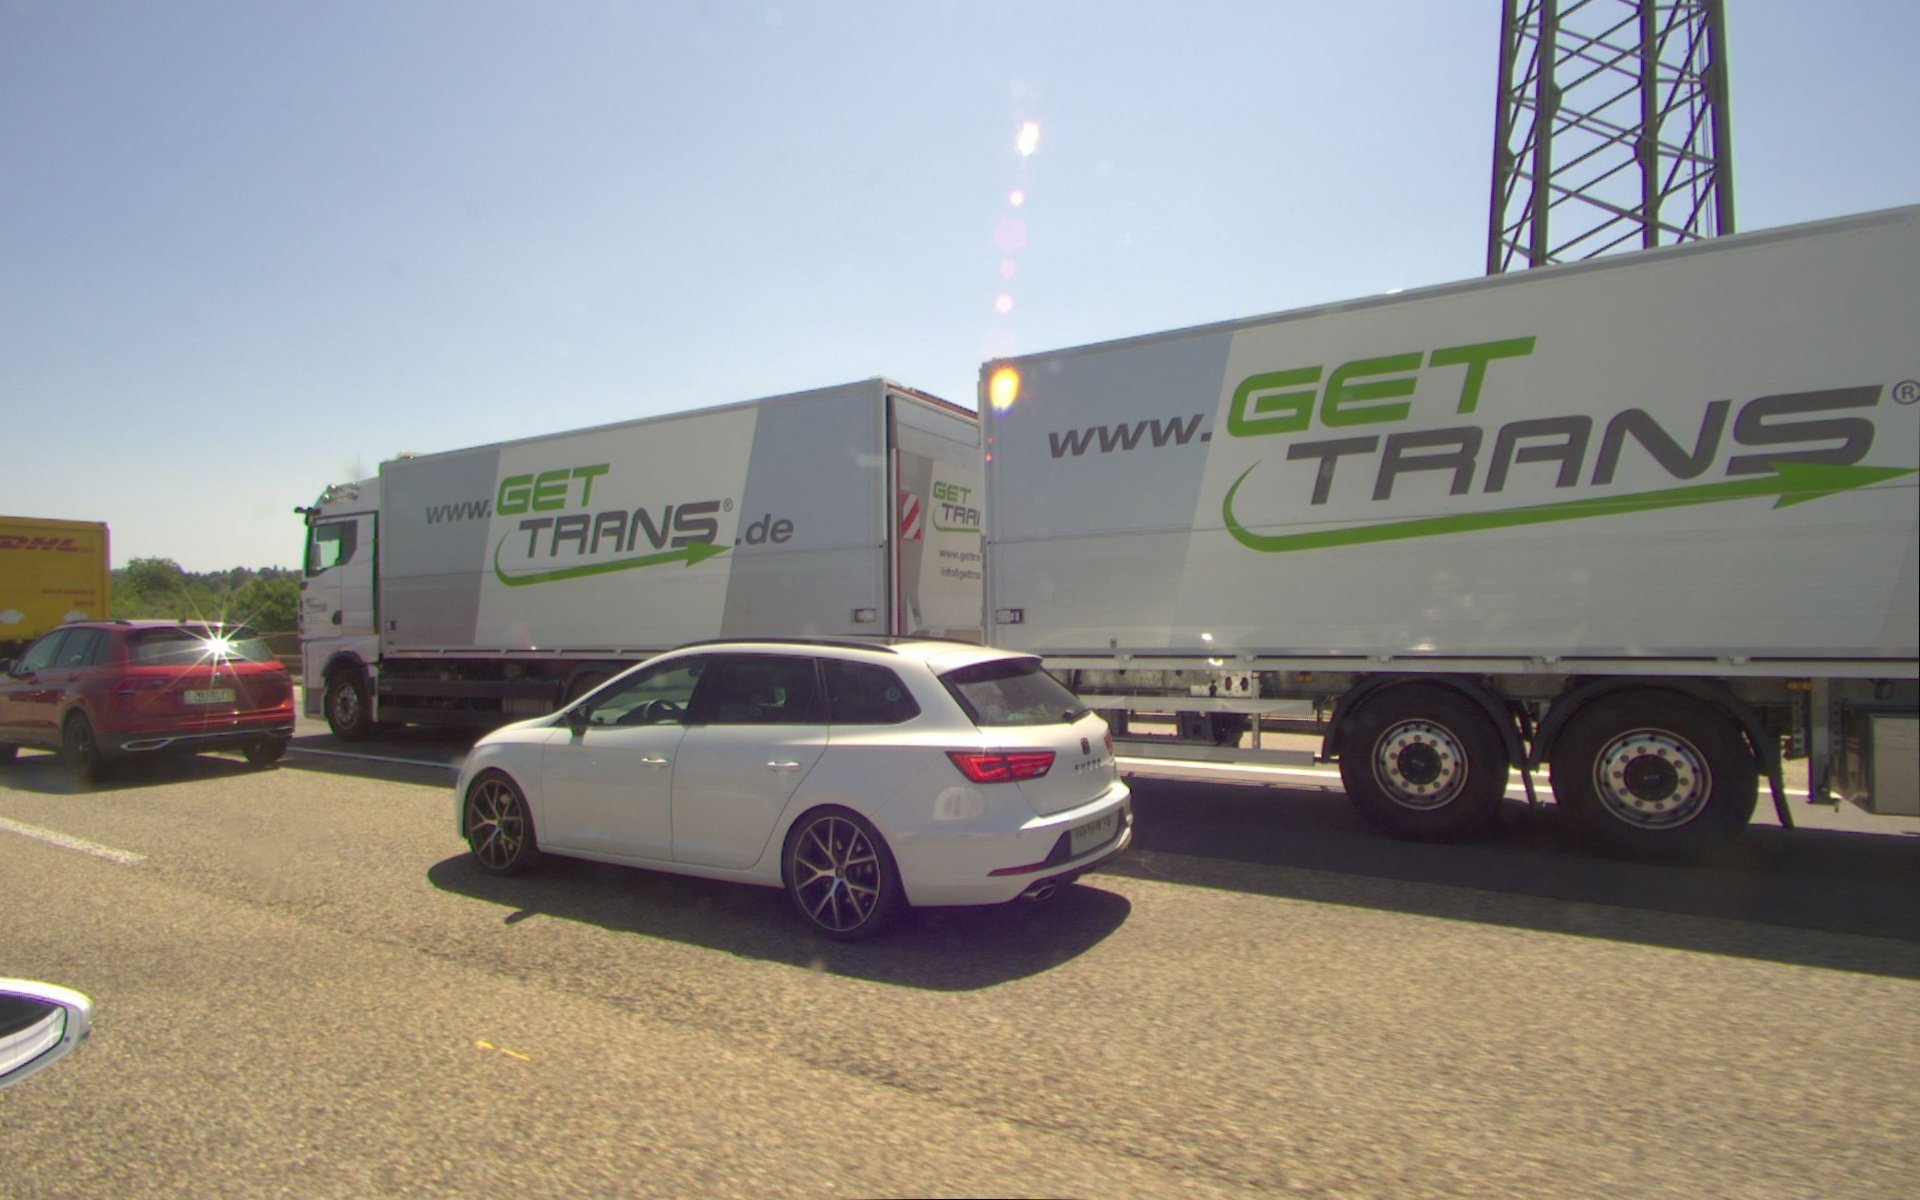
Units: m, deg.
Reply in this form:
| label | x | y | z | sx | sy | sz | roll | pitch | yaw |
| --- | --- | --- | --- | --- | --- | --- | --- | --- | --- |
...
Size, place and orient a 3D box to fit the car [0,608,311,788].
| label | x | y | z | sx | sy | sz | roll | pitch | yaw |
| --- | --- | --- | --- | --- | --- | --- | --- | --- | --- |
| car | -9.372 | 0.997 | 11.300 | 4.221 | 1.700 | 1.706 | -2 | -1 | 30 |

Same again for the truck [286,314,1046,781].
| label | x | y | z | sx | sy | sz | roll | pitch | yaw |
| --- | --- | --- | --- | --- | --- | --- | --- | --- | --- |
| truck | -4.248 | -0.265 | 12.504 | 10.457 | 3.984 | 2.848 | -2 | -2 | 32 |

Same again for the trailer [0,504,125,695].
| label | x | y | z | sx | sy | sz | roll | pitch | yaw |
| --- | --- | --- | --- | --- | --- | --- | --- | --- | --- |
| trailer | -24.191 | 0.139 | 24.719 | 8.849 | 4.139 | 2.679 | -2 | -2 | 31 |

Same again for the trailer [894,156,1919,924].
| label | x | y | z | sx | sy | sz | roll | pitch | yaw |
| --- | --- | --- | --- | --- | --- | --- | --- | --- | --- |
| trailer | 3.632 | -0.204 | 7.635 | 8.096 | 3.940 | 2.895 | -2 | -2 | 32 |

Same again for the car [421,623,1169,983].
| label | x | y | z | sx | sy | sz | roll | pitch | yaw |
| --- | --- | --- | --- | --- | --- | --- | --- | --- | --- |
| car | -1.134 | 0.885 | 5.977 | 4.364 | 1.470 | 1.706 | -1 | -2 | 31 |
